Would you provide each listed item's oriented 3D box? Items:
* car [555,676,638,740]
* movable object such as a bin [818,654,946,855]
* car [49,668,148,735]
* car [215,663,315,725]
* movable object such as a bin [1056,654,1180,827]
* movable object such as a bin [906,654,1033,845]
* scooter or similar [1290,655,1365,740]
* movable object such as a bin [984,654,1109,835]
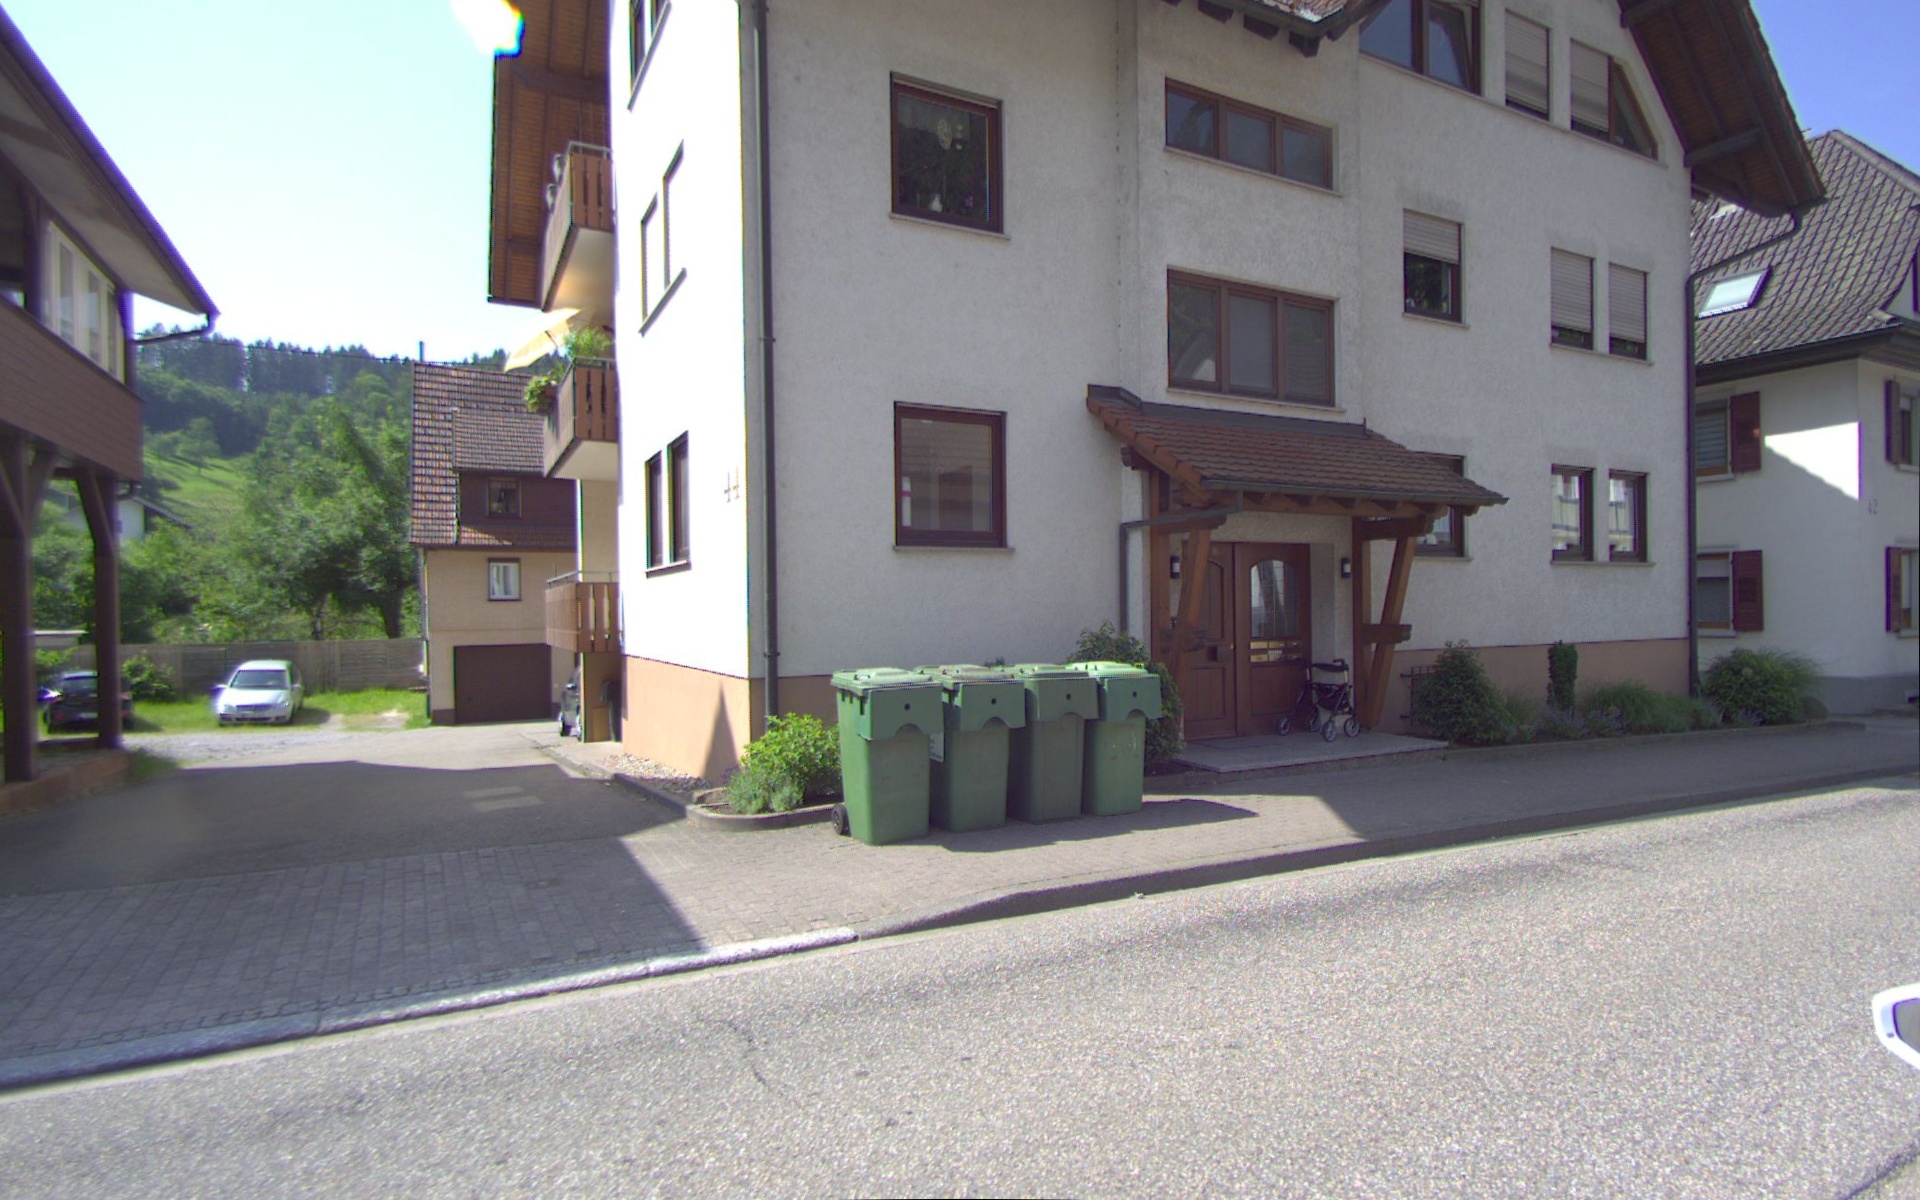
[{"bbox_3d":[-7.271,2.138,20.057,1.456,1.128,3.114,0,-6,-21],"label":"car"},{"bbox_3d":[-0.521,0.957,6.532,0.590,1.197,0.715,1,-3,-28],"label":"movable object such as a bin"},{"bbox_3d":[-22.453,2.587,26.140,3.421,1.580,1.655,-4,-4,44],"label":"car"},{"bbox_3d":[-20.347,2.737,29.550,1.717,1.675,3.654,1,-4,-24],"label":"car"},{"bbox_3d":[1.168,1.007,7.496,0.590,1.197,0.715,1,-3,-28],"label":"movable object such as a bin"},{"bbox_3d":[0.052,0.974,6.843,0.590,1.197,0.715,1,-3,-28],"label":"movable object such as a bin"},{"bbox_3d":[3.816,0.999,10.432,0.531,0.837,0.503,2,-2,-30],"label":"scooter or similar"},{"bbox_3d":[0.604,0.991,7.175,0.590,1.197,0.715,1,-3,-28],"label":"movable object such as a bin"}]
